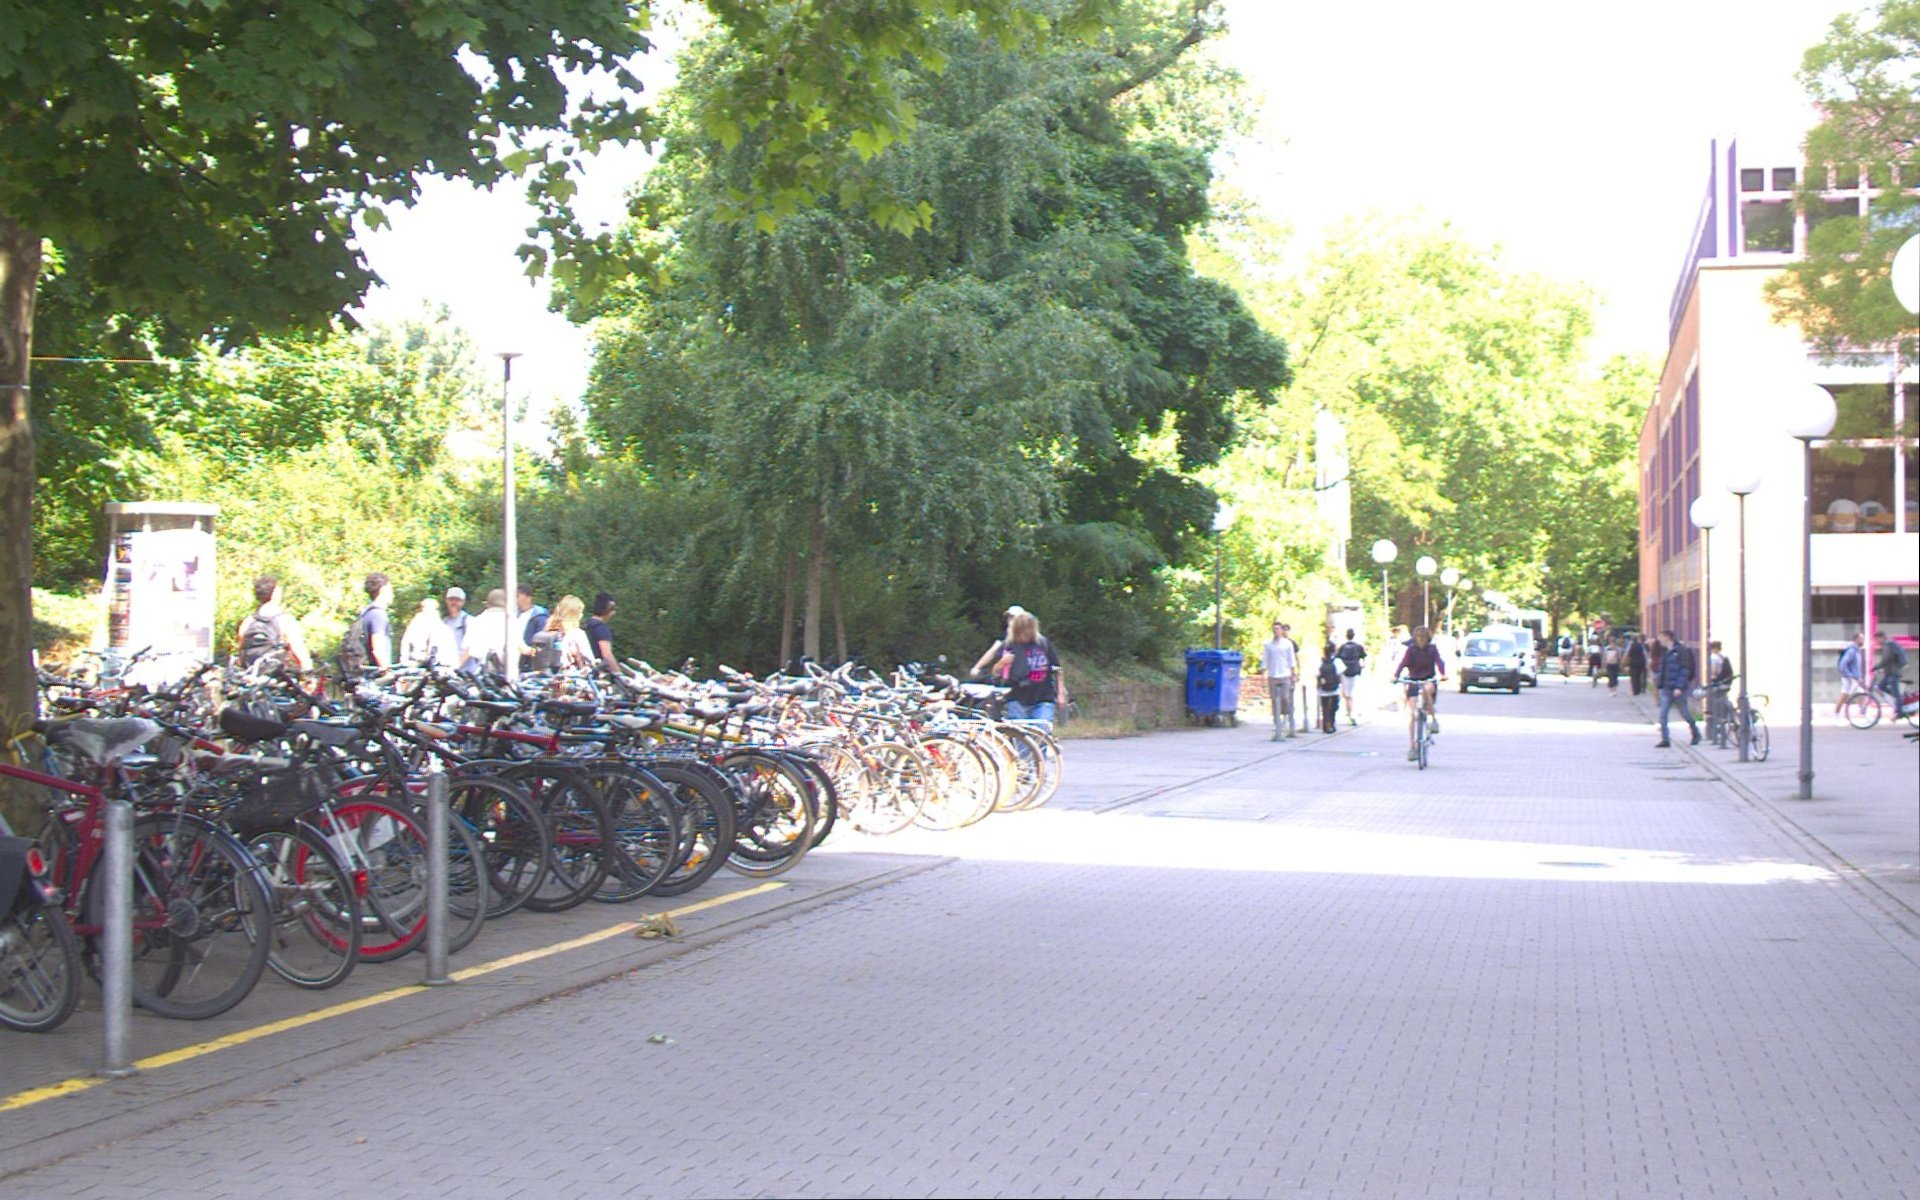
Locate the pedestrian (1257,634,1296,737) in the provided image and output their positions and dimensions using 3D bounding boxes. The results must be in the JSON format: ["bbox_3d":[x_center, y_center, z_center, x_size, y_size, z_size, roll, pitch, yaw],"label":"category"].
[{"bbox_3d":[5.863,1.577,63.620,0.682,1.866,1.120,1,-1,6],"label":"pedestrian"}]

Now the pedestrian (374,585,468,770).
[{"bbox_3d":[-5.103,0.724,32.542,0.684,1.718,0.731,0,0,-26],"label":"pedestrian"}]

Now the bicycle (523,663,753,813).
[{"bbox_3d":[-2.438,1.032,26.009,1.696,1.080,0.473,0,-1,23],"label":"bicycle"}]

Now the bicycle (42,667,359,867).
[{"bbox_3d":[-4.342,0.951,19.723,1.694,1.104,0.503,1,-1,-1],"label":"bicycle"}]

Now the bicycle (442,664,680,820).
[{"bbox_3d":[-2.903,1.021,25.003,1.696,1.080,0.473,0,-1,23],"label":"bicycle"}]

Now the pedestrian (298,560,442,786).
[{"bbox_3d":[-4.869,0.590,28.376,0.686,1.829,0.939,0,0,44],"label":"pedestrian"}]

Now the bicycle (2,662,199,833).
[{"bbox_3d":[-5.777,0.969,23.056,0.473,1.080,1.698,1,-1,-44],"label":"bicycle"}]

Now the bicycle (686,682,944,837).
[{"bbox_3d":[-0.981,1.078,23.392,1.693,1.015,0.474,1,-1,-25],"label":"bicycle"}]

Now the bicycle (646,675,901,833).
[{"bbox_3d":[-1.288,1.060,23.805,1.693,1.058,0.474,1,-1,-25],"label":"bicycle"}]

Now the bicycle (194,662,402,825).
[{"bbox_3d":[-4.642,0.984,24.058,1.698,1.080,0.473,0,-1,41],"label":"bicycle"}]

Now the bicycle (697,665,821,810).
[{"bbox_3d":[-1.564,1.060,26.985,0.507,1.080,1.698,1,-1,13],"label":"bicycle"}]

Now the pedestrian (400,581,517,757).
[{"bbox_3d":[-5.217,0.710,35.798,0.768,1.798,0.982,0,0,27],"label":"pedestrian"}]

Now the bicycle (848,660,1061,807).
[{"bbox_3d":[-0.040,1.076,27.877,1.694,1.155,0.474,1,-1,1],"label":"bicycle"}]

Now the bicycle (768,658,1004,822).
[{"bbox_3d":[-0.546,1.021,25.132,1.694,1.164,0.474,1,-1,-3],"label":"bicycle"}]

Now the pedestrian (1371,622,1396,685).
[{"bbox_3d":[12.580,1.595,102.057,0.683,1.838,0.783,1,-1,10],"label":"pedestrian"}]

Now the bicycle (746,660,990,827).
[{"bbox_3d":[-0.665,1.023,24.603,1.694,1.164,0.474,1,-1,-7],"label":"bicycle"}]

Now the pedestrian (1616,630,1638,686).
[{"bbox_3d":[19.842,1.724,102.232,0.586,1.667,0.817,-1,-2,11],"label":"pedestrian"}]

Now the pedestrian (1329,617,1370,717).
[{"bbox_3d":[7.261,1.242,64.032,0.683,1.838,0.783,1,-1,10],"label":"pedestrian"}]

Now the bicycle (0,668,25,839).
[{"bbox_3d":[-6.730,0.971,22.363,0.473,1.080,1.698,1,-1,-44],"label":"bicycle"}]

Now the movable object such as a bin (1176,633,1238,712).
[{"bbox_3d":[4.364,1.274,60.668,0.710,1.332,1.238,3,0,20],"label":"movable object such as a bin"}]

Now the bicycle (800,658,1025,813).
[{"bbox_3d":[-0.363,1.046,26.686,1.694,1.164,0.474,1,-1,4],"label":"bicycle"}]

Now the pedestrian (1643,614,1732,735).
[{"bbox_3d":[11.334,1.152,53.563,1.029,1.851,0.888,2,-1,-40],"label":"pedestrian"}]

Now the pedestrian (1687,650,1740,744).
[{"bbox_3d":[13.329,1.717,60.807,0.853,1.646,0.587,1,-1,18],"label":"pedestrian"}]

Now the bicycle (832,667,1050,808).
[{"bbox_3d":[-0.143,1.091,27.419,1.694,1.087,0.474,1,-1,4],"label":"bicycle"}]

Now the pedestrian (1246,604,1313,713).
[{"bbox_3d":[5.461,0.993,58.789,0.783,1.839,1.118,1,0,-14],"label":"pedestrian"}]

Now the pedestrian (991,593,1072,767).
[{"bbox_3d":[0.706,0.776,33.627,0.767,1.674,0.907,0,0,2],"label":"pedestrian"}]

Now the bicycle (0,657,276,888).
[{"bbox_3d":[-4.622,0.928,18.698,1.694,1.216,0.503,1,-1,-1],"label":"bicycle"}]

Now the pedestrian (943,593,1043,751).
[{"bbox_3d":[0.390,0.845,40.415,1.047,1.829,0.614,1,-1,-44],"label":"pedestrian"}]

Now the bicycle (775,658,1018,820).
[{"bbox_3d":[-0.483,1.034,25.842,1.777,1.164,0.473,0,-1,23],"label":"bicycle"}]

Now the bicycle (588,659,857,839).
[{"bbox_3d":[-1.563,0.979,22.633,1.693,1.153,0.474,1,-1,-17],"label":"bicycle"}]

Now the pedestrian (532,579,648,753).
[{"bbox_3d":[-3.731,0.664,34.680,0.901,1.718,0.686,2,-1,-44],"label":"pedestrian"}]

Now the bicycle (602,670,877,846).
[{"bbox_3d":[-1.422,1.016,22.188,1.693,1.104,0.474,1,-1,-17],"label":"bicycle"}]

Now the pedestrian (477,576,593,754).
[{"bbox_3d":[-4.378,0.661,35.468,0.833,1.809,0.881,0,0,25],"label":"pedestrian"}]

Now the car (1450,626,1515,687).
[{"bbox_3d":[15.521,1.669,101.992,1.791,1.756,4.479,0,0,10],"label":"car"}]

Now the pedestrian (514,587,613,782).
[{"bbox_3d":[-3.564,0.750,30.935,0.684,1.718,0.731,1,0,8],"label":"pedestrian"}]

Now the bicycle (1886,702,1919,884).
[{"bbox_3d":[6.056,1.161,21.064,0.537,1.036,1.858,-1,-1,9],"label":"bicycle"}]

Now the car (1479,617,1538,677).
[{"bbox_3d":[18.428,1.562,115.436,1.884,1.967,5.212,0,0,10],"label":"car"}]

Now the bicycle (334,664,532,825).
[{"bbox_3d":[-3.764,1.011,24.483,0.473,1.080,1.698,1,-1,-45],"label":"bicycle"}]

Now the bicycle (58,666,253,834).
[{"bbox_3d":[-5.502,1.006,23.455,0.473,1.080,1.698,1,-1,-44],"label":"bicycle"}]

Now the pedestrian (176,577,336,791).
[{"bbox_3d":[-5.779,0.672,28.239,0.718,1.718,1.062,0,0,43],"label":"pedestrian"}]

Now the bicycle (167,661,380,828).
[{"bbox_3d":[-4.693,0.967,23.446,1.698,1.080,0.473,0,-1,41],"label":"bicycle"}]

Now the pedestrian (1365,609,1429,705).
[{"bbox_3d":[8.653,1.132,68.130,1.079,1.875,0.726,2,-2,-45],"label":"pedestrian"}]

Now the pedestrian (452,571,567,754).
[{"bbox_3d":[-4.289,0.583,32.724,0.934,1.718,0.677,0,0,-23],"label":"pedestrian"}]

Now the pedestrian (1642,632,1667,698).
[{"bbox_3d":[17.645,1.664,87.376,0.586,1.667,0.698,-1,-2,11],"label":"pedestrian"}]

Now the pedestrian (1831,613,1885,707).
[{"bbox_3d":[16.645,1.119,63.712,0.903,1.722,0.684,-1,-3,20],"label":"pedestrian"}]

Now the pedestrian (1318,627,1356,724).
[{"bbox_3d":[6.333,1.261,57.749,0.569,1.605,0.918,1,-1,9],"label":"pedestrian"}]

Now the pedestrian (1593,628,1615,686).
[{"bbox_3d":[18.847,1.678,100.637,0.586,1.667,0.817,-1,-2,11],"label":"pedestrian"}]
